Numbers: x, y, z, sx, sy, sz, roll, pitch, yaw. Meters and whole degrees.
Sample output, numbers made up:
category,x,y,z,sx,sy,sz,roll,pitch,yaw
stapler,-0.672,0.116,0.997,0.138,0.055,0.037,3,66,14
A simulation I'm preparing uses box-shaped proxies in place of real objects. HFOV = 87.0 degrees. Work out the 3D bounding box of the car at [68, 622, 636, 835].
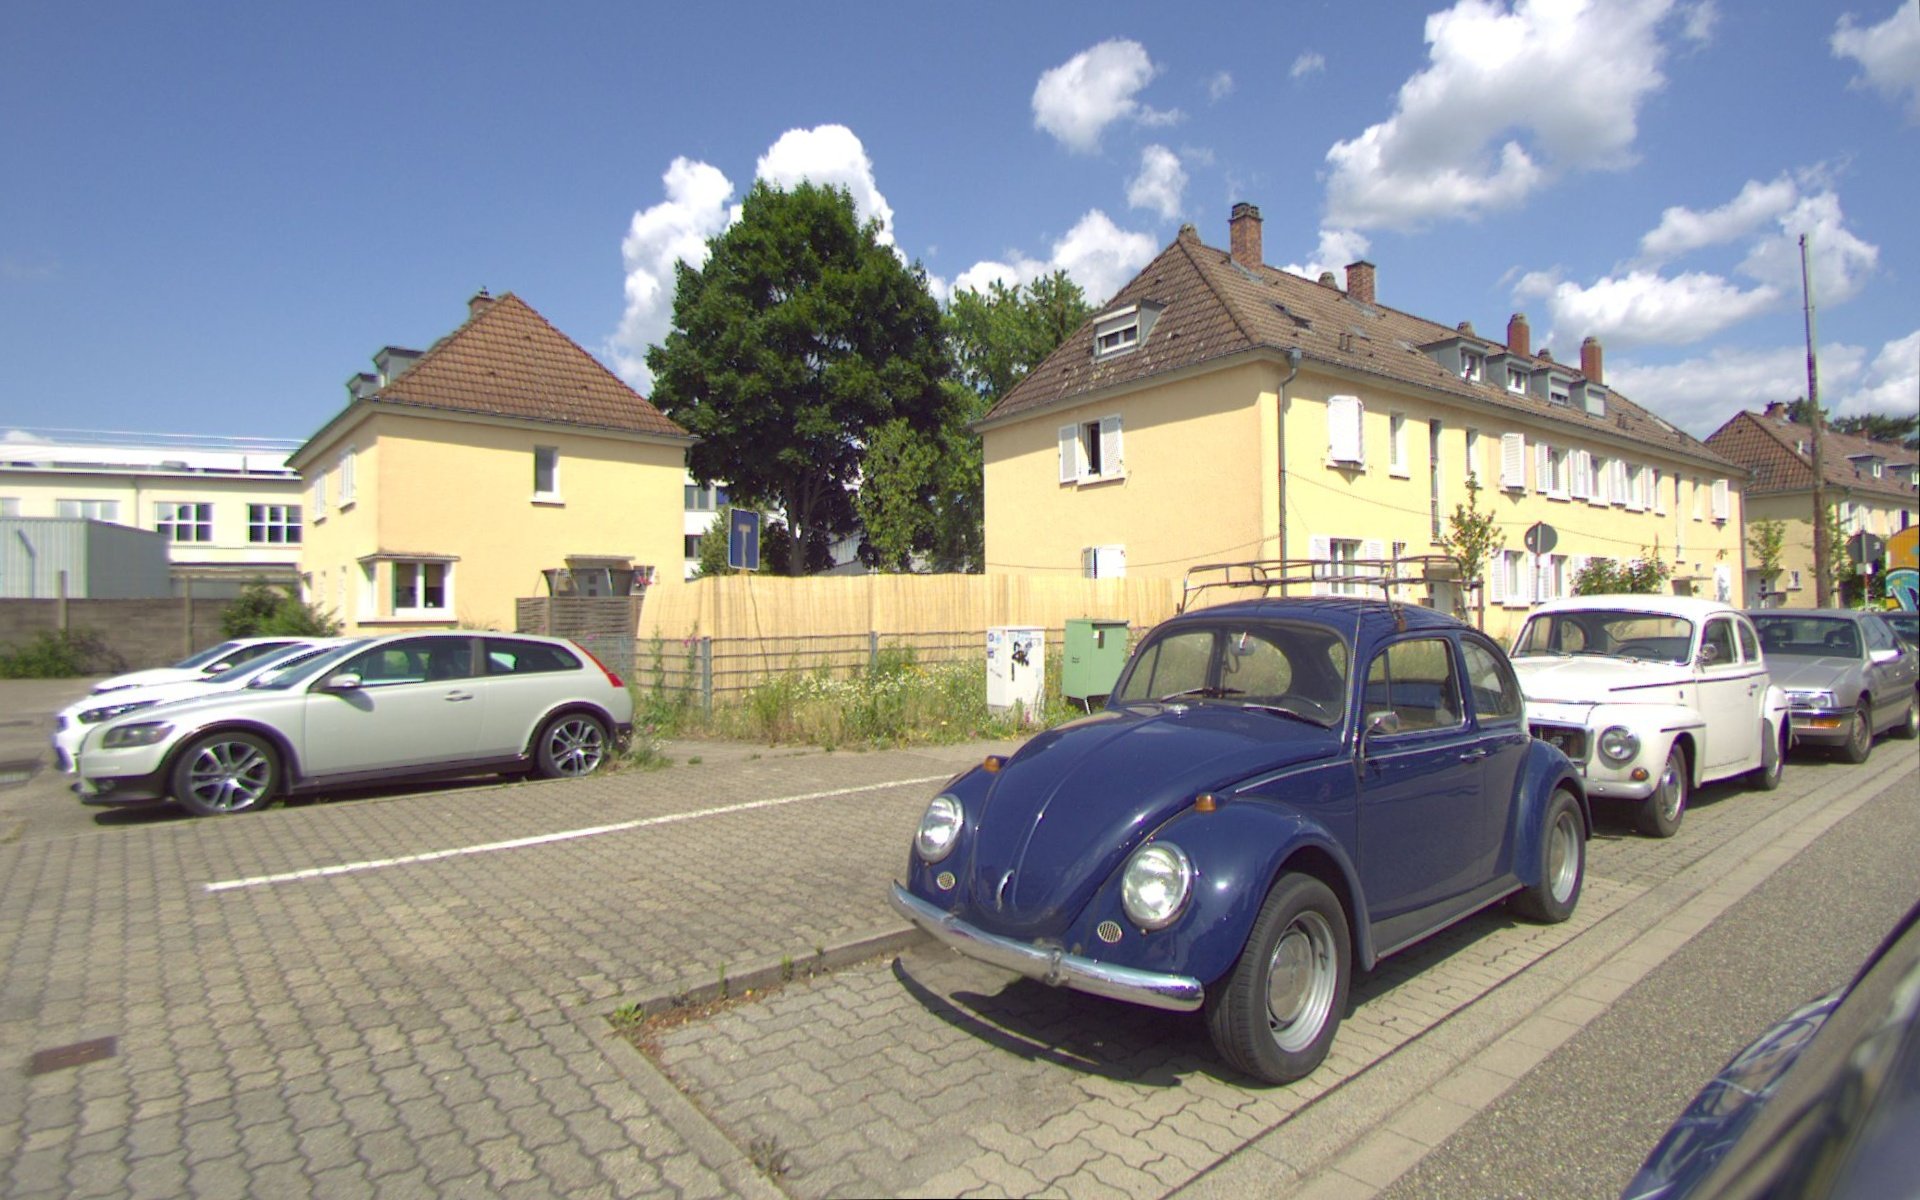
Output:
category,x,y,z,sx,sy,sz,roll,pitch,yaw
car,-5.094,0.912,8.854,4.020,1.391,1.637,0,-1,-44

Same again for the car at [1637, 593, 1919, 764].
category,x,y,z,sx,sy,sz,roll,pitch,yaw
car,9.098,0.691,10.859,4.748,1.468,1.710,0,-1,-39

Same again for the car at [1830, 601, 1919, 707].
category,x,y,z,sx,sy,sz,roll,pitch,yaw
car,14.882,0.748,15.517,4.373,1.468,1.580,0,-1,-39

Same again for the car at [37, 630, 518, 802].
category,x,y,z,sx,sy,sz,roll,pitch,yaw
car,-7.030,1.056,10.705,4.020,1.391,1.637,0,-1,-44

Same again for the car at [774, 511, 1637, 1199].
category,x,y,z,sx,sy,sz,roll,pitch,yaw
car,1.408,0.636,4.382,4.174,1.662,1.550,0,-2,-42

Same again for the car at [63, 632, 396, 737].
category,x,y,z,sx,sy,sz,roll,pitch,yaw
car,-11.468,1.262,16.134,1.632,1.392,4.032,-4,-3,37

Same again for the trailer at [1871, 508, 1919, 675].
category,x,y,z,sx,sy,sz,roll,pitch,yaw
trailer,21.190,-0.179,20.855,4.989,3.268,2.696,0,-2,-38

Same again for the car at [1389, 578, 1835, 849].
category,x,y,z,sx,sy,sz,roll,pitch,yaw
car,5.169,0.659,7.761,4.379,1.532,1.580,0,-1,-39
